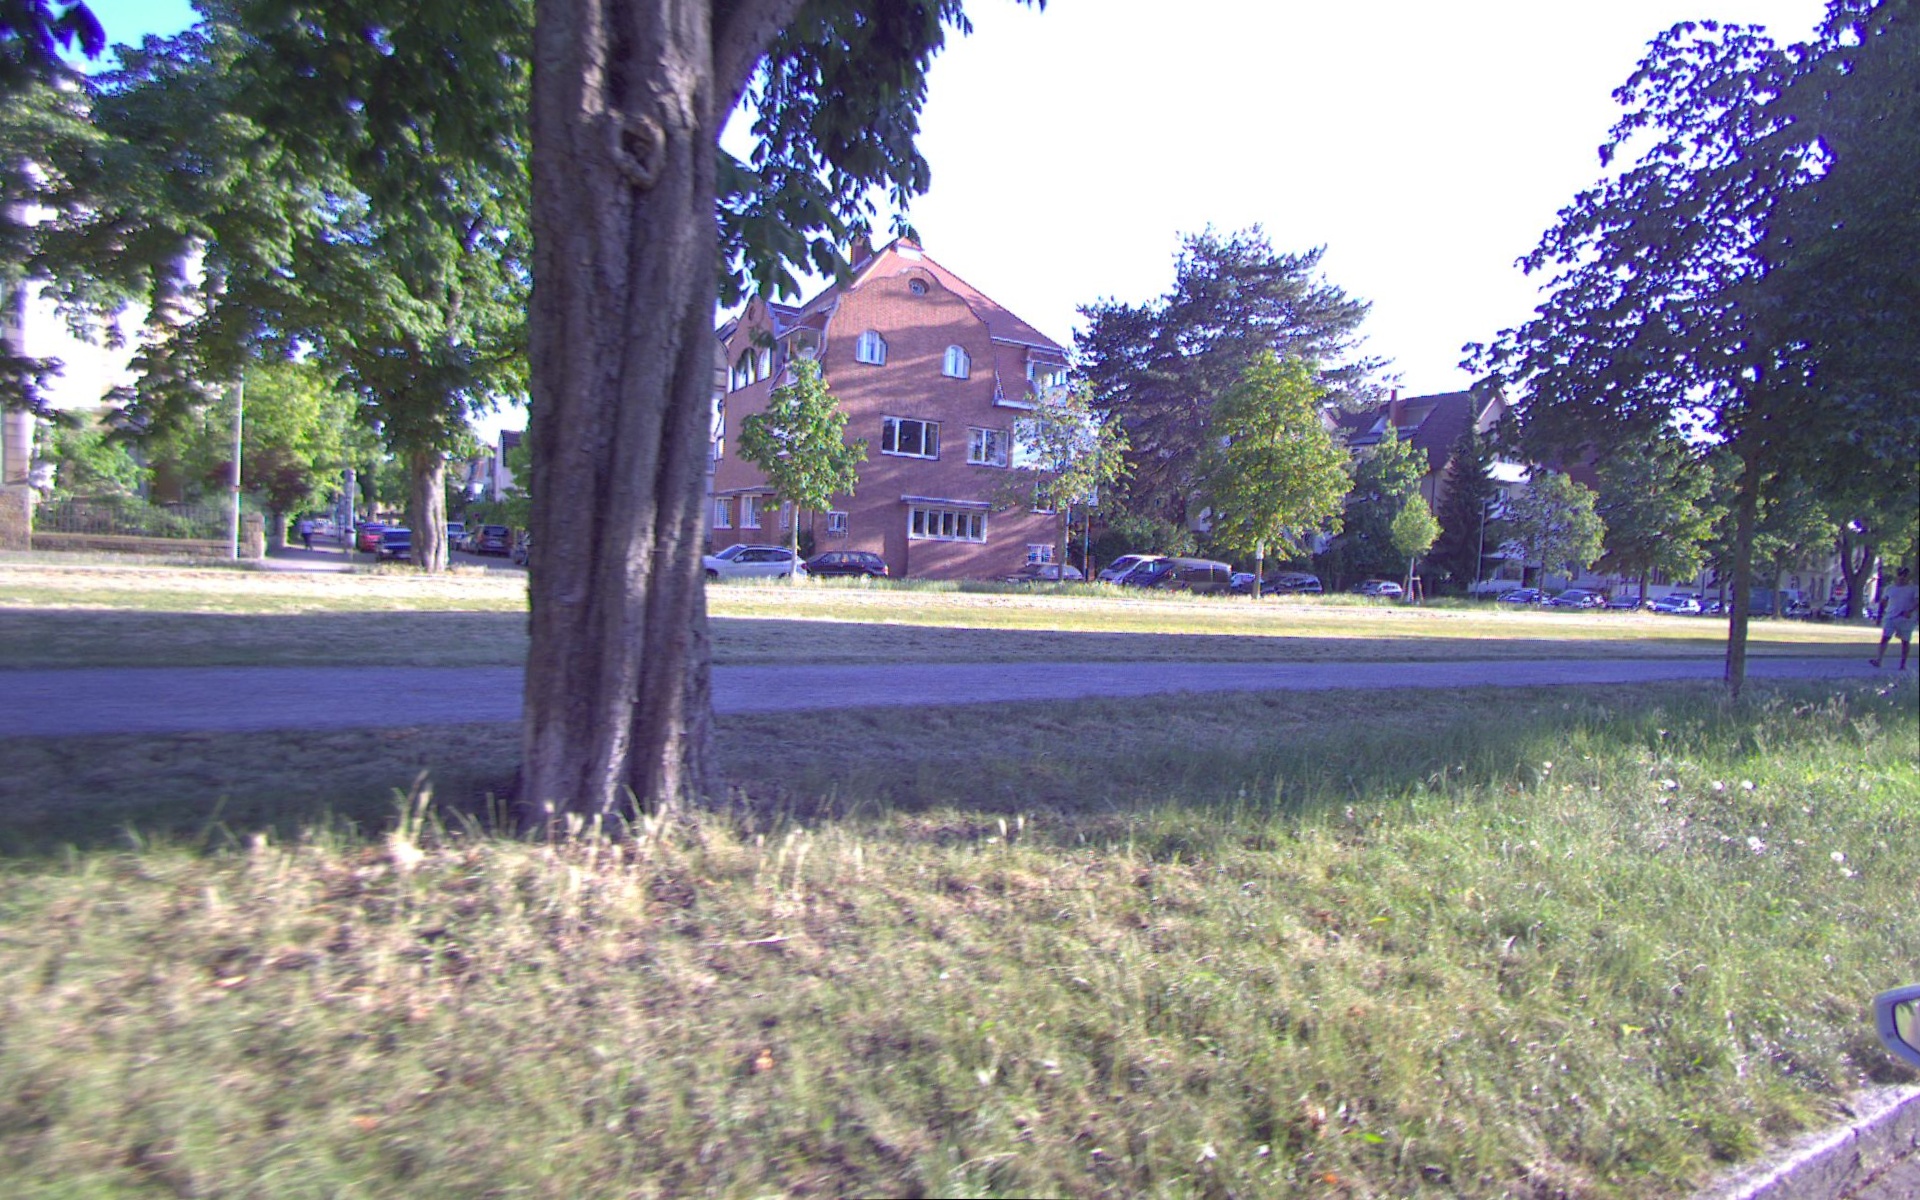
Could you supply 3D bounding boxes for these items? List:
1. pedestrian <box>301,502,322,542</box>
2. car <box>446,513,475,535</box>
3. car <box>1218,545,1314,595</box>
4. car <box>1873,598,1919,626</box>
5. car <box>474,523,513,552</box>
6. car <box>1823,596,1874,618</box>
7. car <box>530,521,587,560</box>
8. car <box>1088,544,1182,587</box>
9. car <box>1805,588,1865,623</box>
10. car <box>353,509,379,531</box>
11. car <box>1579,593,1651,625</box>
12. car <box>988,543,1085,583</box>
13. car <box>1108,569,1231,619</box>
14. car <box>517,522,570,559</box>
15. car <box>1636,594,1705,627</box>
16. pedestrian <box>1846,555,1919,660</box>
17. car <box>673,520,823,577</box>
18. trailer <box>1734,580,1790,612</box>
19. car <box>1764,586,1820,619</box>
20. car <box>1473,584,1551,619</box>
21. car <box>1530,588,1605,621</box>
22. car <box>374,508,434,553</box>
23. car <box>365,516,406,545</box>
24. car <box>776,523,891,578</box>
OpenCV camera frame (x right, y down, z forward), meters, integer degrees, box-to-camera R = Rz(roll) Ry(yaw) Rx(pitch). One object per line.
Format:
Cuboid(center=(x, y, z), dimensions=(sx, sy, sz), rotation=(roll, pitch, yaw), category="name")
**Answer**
Cuboid(center=(-30.775, -3.721, 47.684), dimensions=(0.688, 1.831, 0.859), rotation=(0, 4, -44), category="pedestrian")
Cuboid(center=(-40.482, -6.132, 81.327), dimensions=(1.814, 1.595, 3.877), rotation=(1, 3, -30), category="car")
Cuboid(center=(14.354, -1.380, 47.090), dimensions=(3.953, 2.041, 1.984), rotation=(2, 5, -30), category="car")
Cuboid(center=(79.767, 1.034, 85.479), dimensions=(4.262, 2.205, 1.677), rotation=(1, 4, -30), category="car")
Cuboid(center=(-28.757, -3.856, 61.846), dimensions=(1.814, 1.595, 3.877), rotation=(1, 3, -30), category="car")
Cuboid(center=(71.076, 0.567, 80.309), dimensions=(4.262, 1.580, 1.677), rotation=(2, 3, -30), category="car")
Cuboid(center=(-17.444, -2.599, 43.567), dimensions=(1.842, 1.506, 3.969), rotation=(2, 3, -29), category="car")
Cuboid(center=(8.706, -1.707, 49.904), dimensions=(4.356, 1.862, 1.808), rotation=(2, 3, -30), category="car")
Cuboid(center=(81.393, 0.519, 93.456), dimensions=(5.750, 2.961, 2.426), rotation=(2, 1, -30), category="car")
Cuboid(center=(-59.673, -8.090, 100.897), dimensions=(1.980, 2.041, 3.960), rotation=(1, 4, -35), category="car")
Cuboid(center=(41.430, 0.549, 63.561), dimensions=(4.204, 1.744, 1.984), rotation=(2, 3, -29), category="car")
Cuboid(center=(3.638, -1.751, 47.455), dimensions=(4.254, 1.645, 1.748), rotation=(2, 3, -30), category="car")
Cuboid(center=(9.166, -0.248, 43.798), dimensions=(5.183, 1.967, 1.984), rotation=(1, 3, -30), category="car")
Cuboid(center=(-19.626, -2.821, 47.265), dimensions=(1.814, 1.595, 3.877), rotation=(1, 3, -30), category="car")
Cuboid(center=(46.648, 0.671, 65.929), dimensions=(4.204, 1.885, 1.984), rotation=(2, 3, -29), category="car")
Cuboid(center=(16.306, 0.126, 17.596), dimensions=(0.979, 1.782, 0.722), rotation=(1, 3, -24), category="pedestrian")
Cuboid(center=(-7.150, -1.738, 33.937), dimensions=(4.596, 1.661, 1.810), rotation=(1, 3, -31), category="car")
Cuboid(center=(68.120, -0.320, 85.335), dimensions=(4.668, 2.461, 1.984), rotation=(2, 3, -30), category="trailer")
Cuboid(center=(73.268, 0.238, 88.430), dimensions=(5.125, 2.709, 1.984), rotation=(2, 3, -30), category="car")
Cuboid(center=(31.589, 0.092, 57.469), dimensions=(3.950, 1.706, 1.985), rotation=(2, 3, -28), category="car")
Cuboid(center=(36.288, 0.280, 59.981), dimensions=(3.950, 1.706, 1.985), rotation=(2, 3, -28), category="car")
Cuboid(center=(-22.426, -2.820, 40.596), dimensions=(1.976, 1.629, 4.833), rotation=(2, 3, -29), category="car")
Cuboid(center=(-33.530, -4.062, 58.683), dimensions=(1.976, 1.506, 3.969), rotation=(2, 3, -29), category="car")
Cuboid(center=(-5.185, -2.015, 41.311), dimensions=(4.316, 2.041, 1.748), rotation=(1, 3, -30), category="car")
